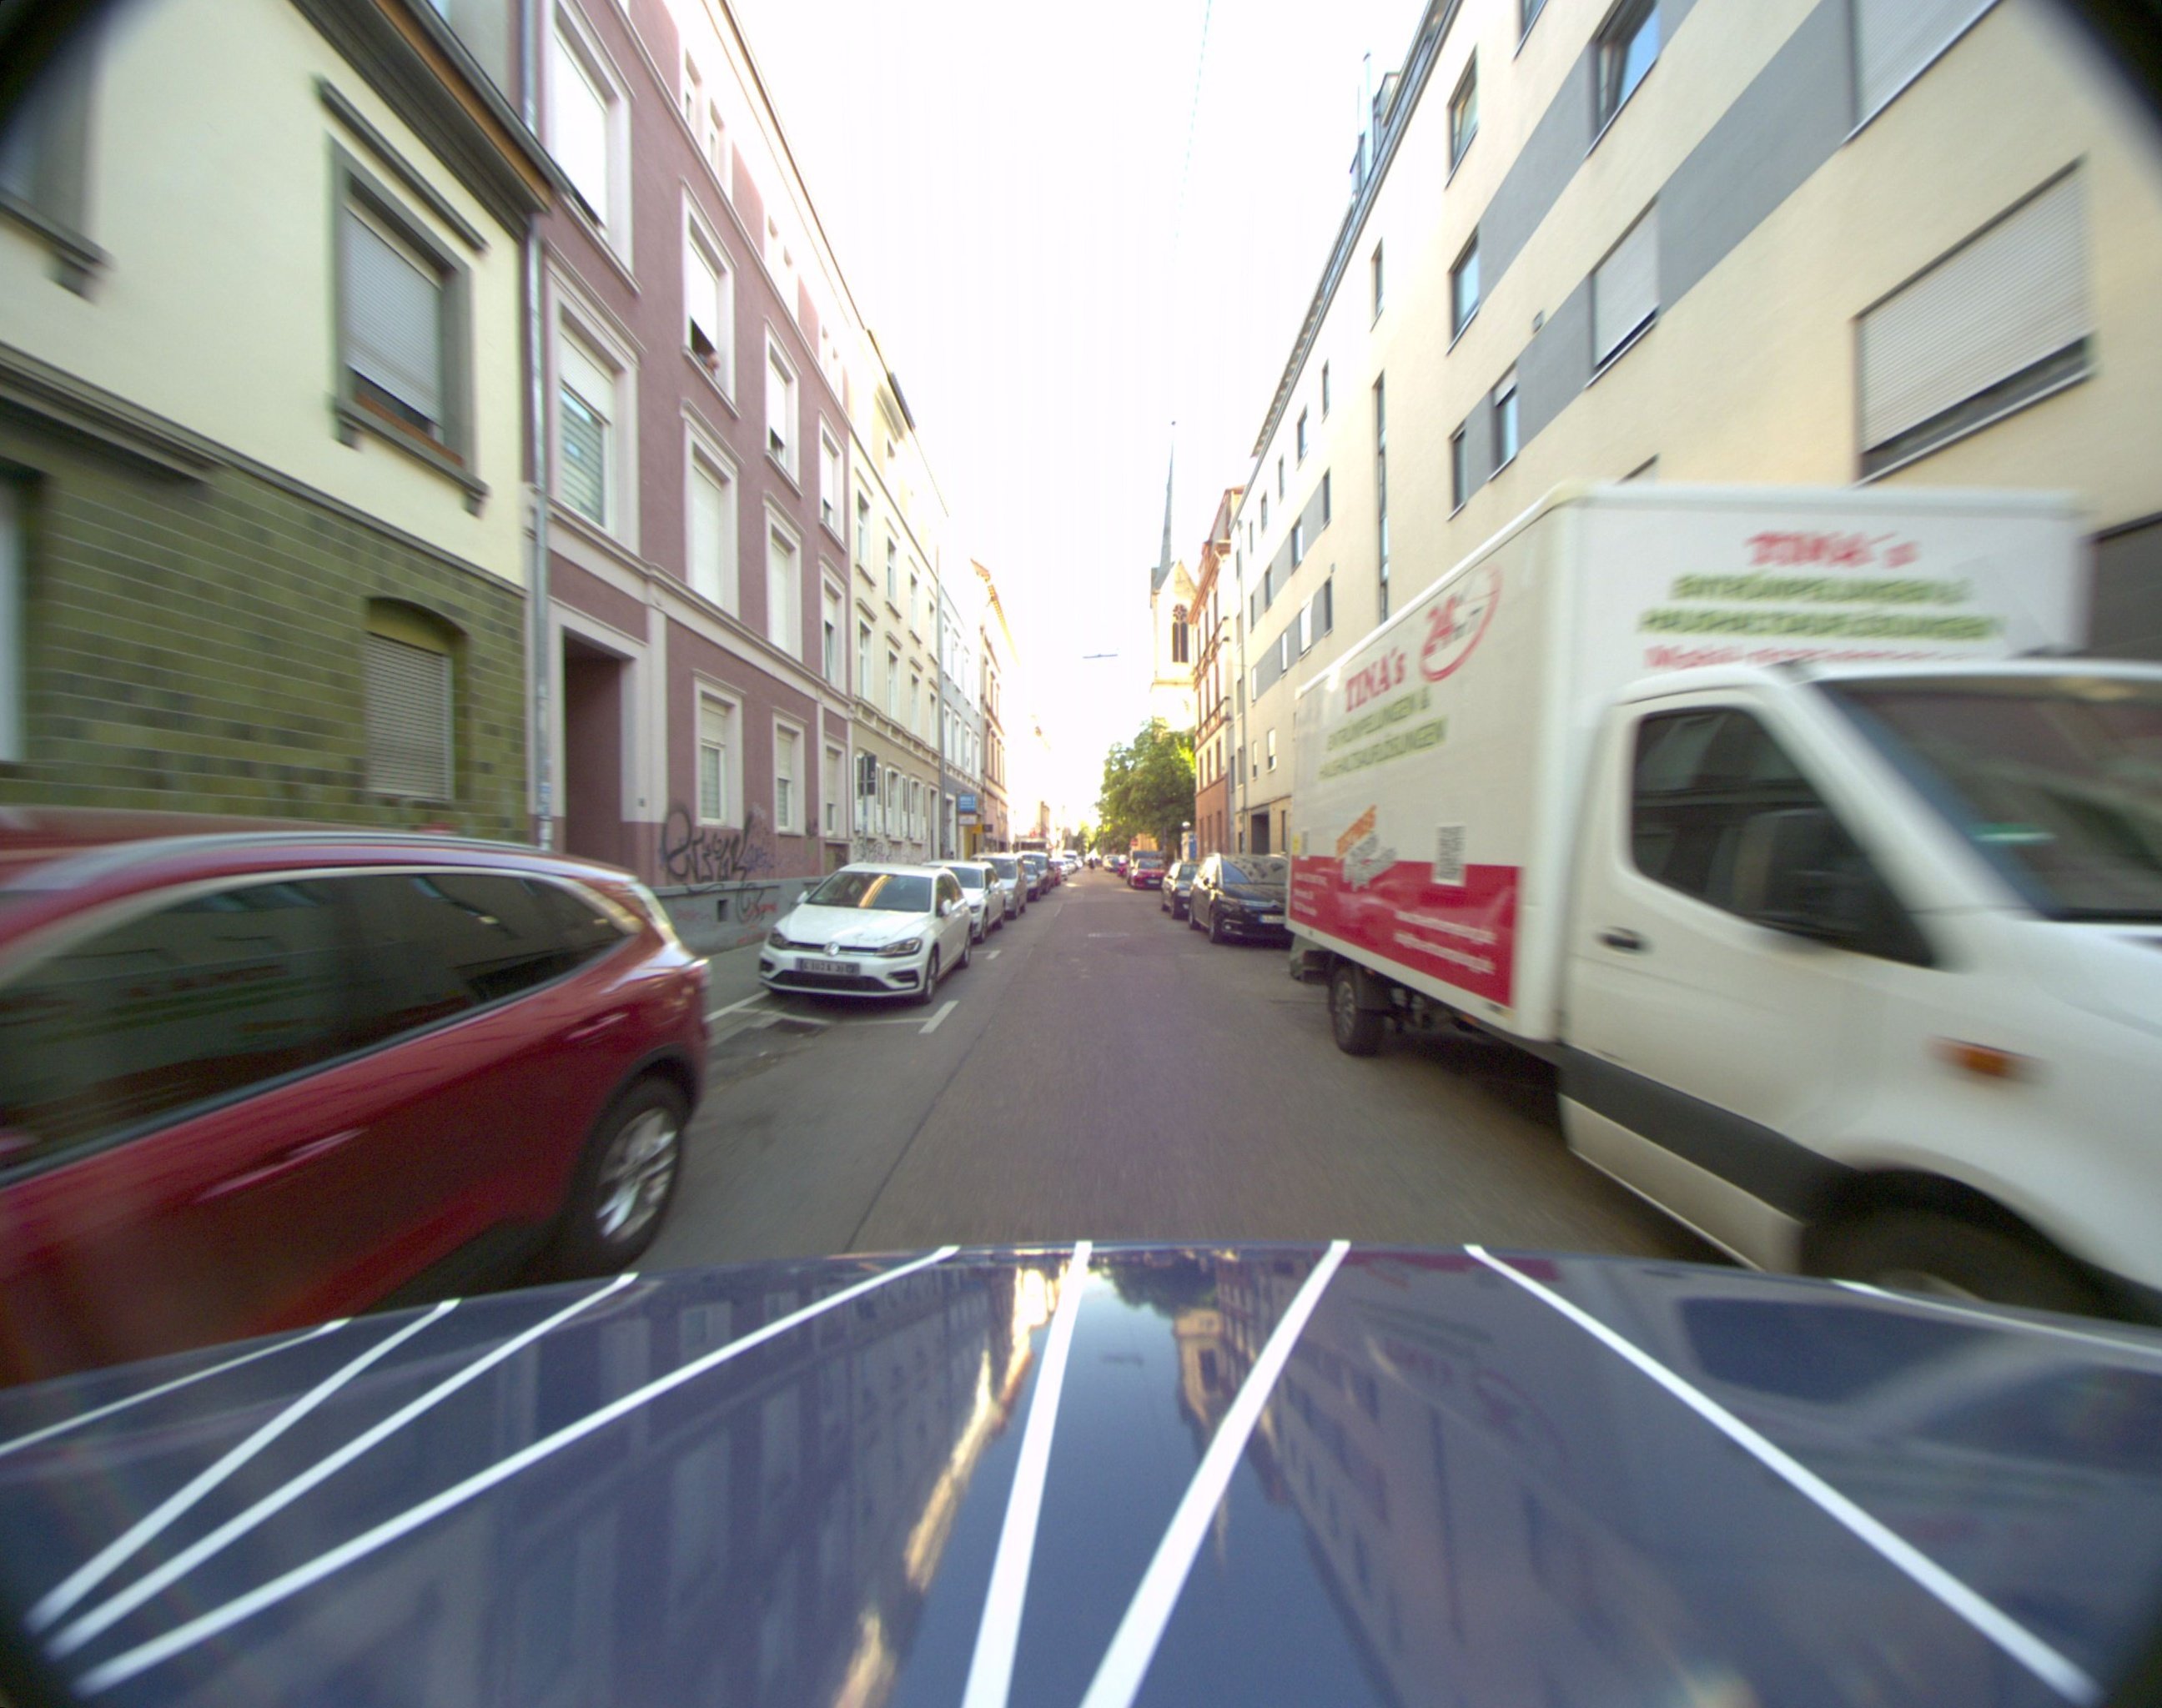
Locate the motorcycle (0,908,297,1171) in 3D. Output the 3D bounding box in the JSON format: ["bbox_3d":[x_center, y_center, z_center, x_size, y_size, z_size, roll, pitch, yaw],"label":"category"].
[{"bbox_3d":[-5.229,0.900,3.900,0.560,1.089,1.776,2,1,1],"label":"motorcycle"}]

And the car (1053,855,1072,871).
[{"bbox_3d":[-1.799,0.825,72.937,1.694,1.454,3.639,-2,1,-2],"label":"car"}]

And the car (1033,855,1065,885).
[{"bbox_3d":[-1.836,0.900,44.351,1.610,1.563,3.553,-2,1,1],"label":"car"}]

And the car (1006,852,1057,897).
[{"bbox_3d":[-2.148,0.838,33.836,1.904,1.783,4.314,-2,1,0],"label":"car"}]

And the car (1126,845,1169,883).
[{"bbox_3d":[3.605,0.528,41.958,2.025,1.868,5.297,-2,0,2],"label":"car"}]

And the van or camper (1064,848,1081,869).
[{"bbox_3d":[-1.073,0.512,98.877,1.998,2.617,5.979,-2,1,1],"label":"van or camper"}]

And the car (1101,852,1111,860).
[{"bbox_3d":[5.215,0.504,158.745,1.777,1.614,4.022,-1,0,0],"label":"car"}]

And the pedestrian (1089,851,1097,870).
[{"bbox_3d":[1.202,0.609,75.924,0.718,1.862,0.720,-2,1,0],"label":"pedestrian"}]

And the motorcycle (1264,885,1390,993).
[{"bbox_3d":[3.365,1.070,10.263,0.789,1.245,2.112,2,0,42],"label":"motorcycle"}]

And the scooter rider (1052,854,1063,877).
[{"bbox_3d":[-1.855,0.922,59.848,0.610,1.768,0.566,-1,1,41],"label":"scooter rider"}]

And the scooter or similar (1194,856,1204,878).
[{"bbox_3d":[6.759,0.721,43.678,0.348,1.209,1.391,-2,1,0],"label":"scooter or similar"}]

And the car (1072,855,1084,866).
[{"bbox_3d":[-0.440,1.007,113.253,1.696,1.615,3.963,-1,0,1],"label":"car"}]

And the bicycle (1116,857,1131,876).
[{"bbox_3d":[2.943,0.861,52.598,0.980,1.306,2.555,1,0,2],"label":"bicycle"}]

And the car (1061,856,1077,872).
[{"bbox_3d":[-1.251,1.062,82.872,1.558,1.517,4.200,-2,1,1],"label":"car"}]

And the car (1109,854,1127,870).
[{"bbox_3d":[3.970,0.866,81.452,1.798,1.543,3.834,-2,1,1],"label":"car"}]

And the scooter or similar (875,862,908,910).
[{"bbox_3d":[-4.919,0.807,19.775,0.451,1.176,1.368,3,1,0],"label":"scooter or similar"}]

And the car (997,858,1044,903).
[{"bbox_3d":[-2.218,0.938,28.525,1.556,1.502,3.611,-2,1,-2],"label":"car"}]

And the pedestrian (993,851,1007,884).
[{"bbox_3d":[-4.378,0.725,40.927,0.630,1.730,0.658,-2,1,-12],"label":"pedestrian"}]

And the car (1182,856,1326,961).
[{"bbox_3d":[3.070,0.901,14.370,1.721,1.640,4.246,2,-1,0],"label":"car"}]

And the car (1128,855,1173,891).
[{"bbox_3d":[3.251,0.863,36.180,1.755,1.513,3.869,2,1,1],"label":"car"}]

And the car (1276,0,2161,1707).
[{"bbox_3d":[3.062,0.060,3.976,2.349,3.272,7.154,1,1,1],"label":"car"}]

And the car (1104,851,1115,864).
[{"bbox_3d":[4.657,0.563,124.262,1.777,2.128,4.023,-1,0,1],"label":"car"}]

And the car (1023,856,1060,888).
[{"bbox_3d":[-2.024,0.905,40.148,1.573,1.548,3.314,2,1,3],"label":"car"}]

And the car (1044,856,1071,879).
[{"bbox_3d":[-1.645,0.927,54.162,1.791,1.507,4.135,-2,1,-1],"label":"car"}]

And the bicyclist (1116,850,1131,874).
[{"bbox_3d":[2.959,0.527,52.823,0.952,1.618,0.953,1,0,2],"label":"bicyclist"}]

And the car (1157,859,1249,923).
[{"bbox_3d":[3.112,0.901,20.230,1.721,1.470,4.499,2,-1,0],"label":"car"}]

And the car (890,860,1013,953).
[{"bbox_3d":[-2.482,0.941,15.695,1.701,1.535,4.628,1,1,0],"label":"car"}]

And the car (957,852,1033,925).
[{"bbox_3d":[-2.231,0.847,20.475,1.560,1.702,3.558,-2,1,0],"label":"car"}]

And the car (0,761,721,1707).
[{"bbox_3d":[-2.622,0.707,1.270,1.923,1.696,4.366,0,0,0],"label":"car"}]

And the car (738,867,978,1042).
[{"bbox_3d":[-2.404,0.995,9.256,1.690,1.535,4.046,1,1,0],"label":"car"}]
